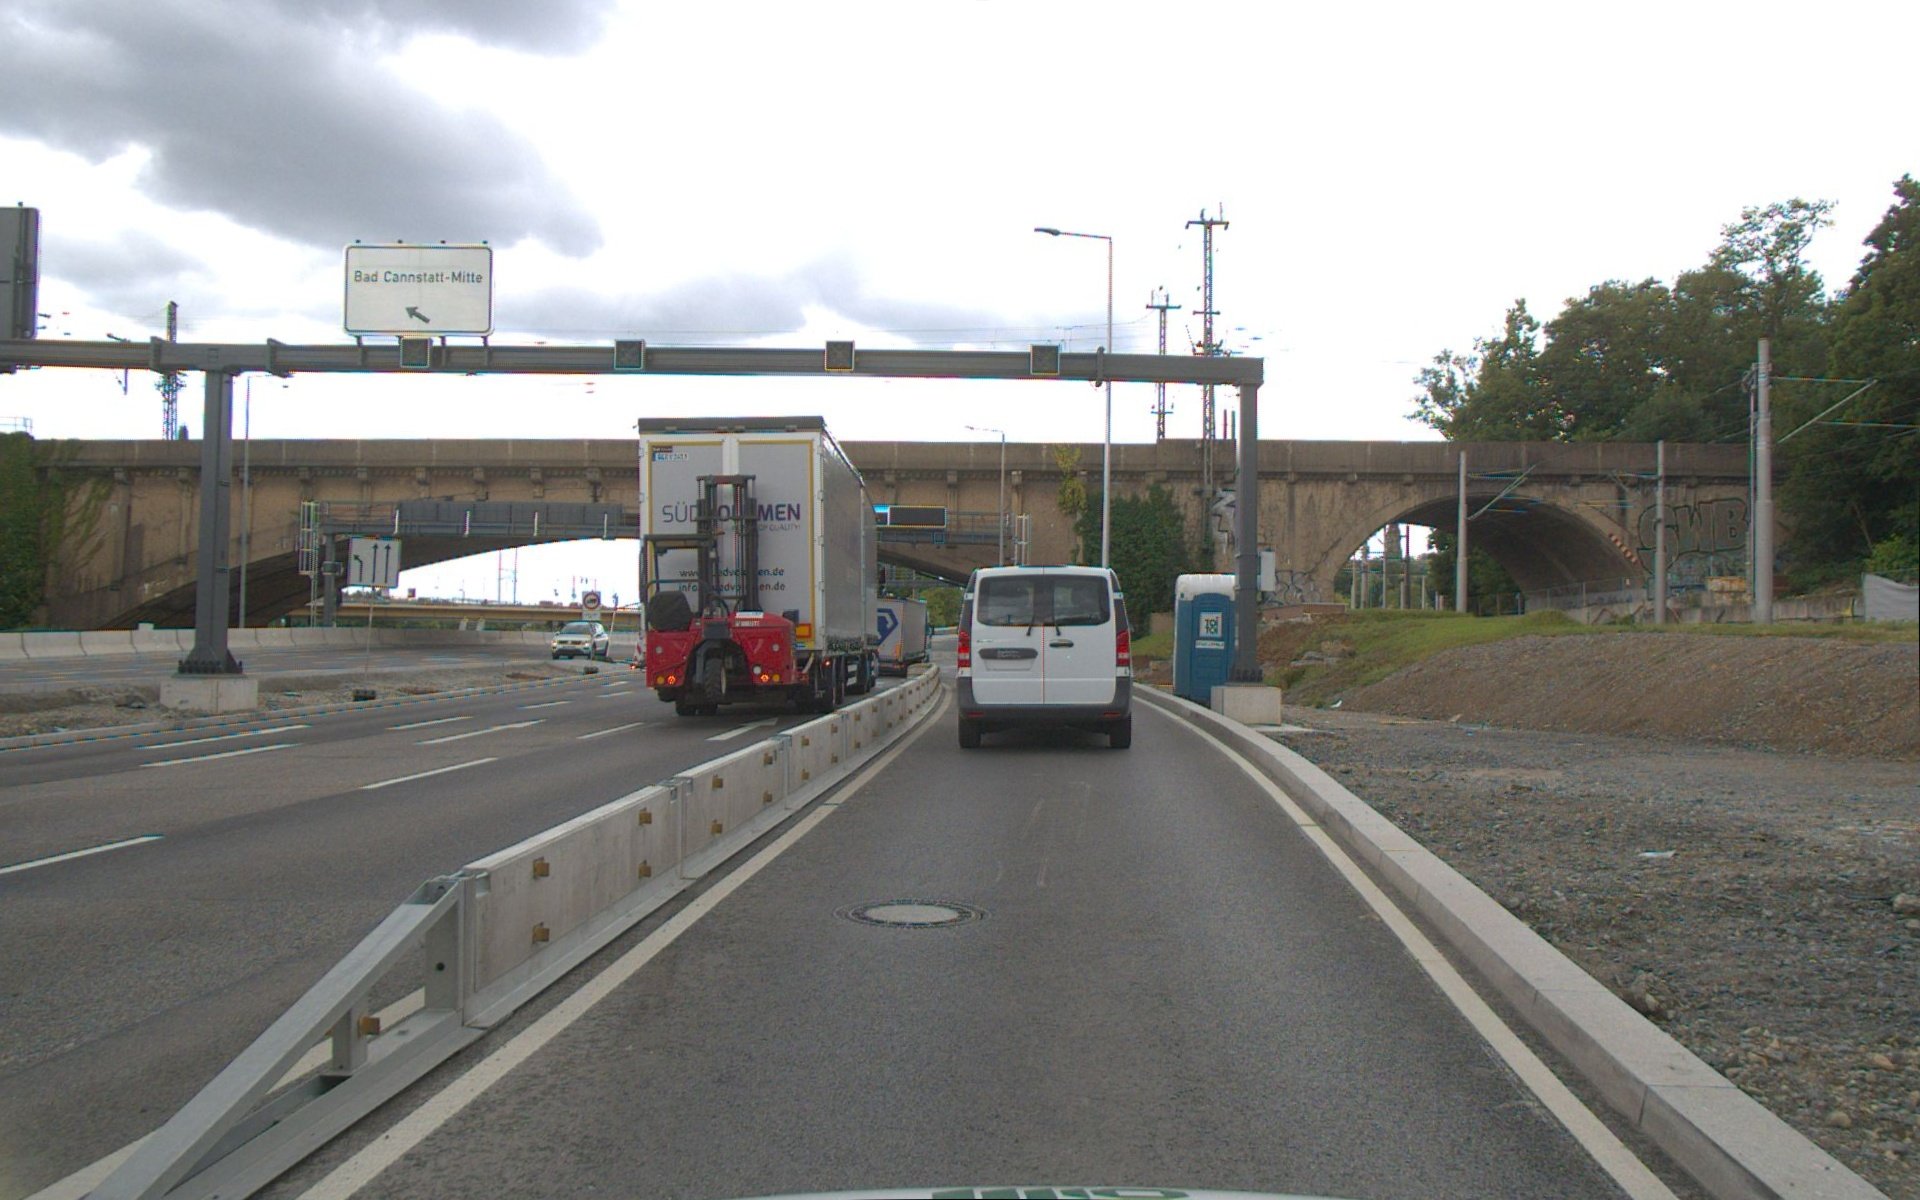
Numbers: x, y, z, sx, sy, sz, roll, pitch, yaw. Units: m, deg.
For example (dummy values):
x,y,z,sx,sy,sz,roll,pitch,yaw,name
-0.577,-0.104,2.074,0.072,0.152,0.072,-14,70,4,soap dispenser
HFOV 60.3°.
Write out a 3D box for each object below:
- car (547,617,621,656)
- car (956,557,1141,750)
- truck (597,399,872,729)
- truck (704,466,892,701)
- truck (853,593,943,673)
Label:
x,y,z,sx,sy,sz,roll,pitch,yaw,name
-16.780,1.617,73.976,1.761,1.691,4.291,0,-1,9,car
1.060,0.572,18.879,1.836,1.924,4.755,0,-1,4,car
-3.109,-0.298,25.988,2.858,4.088,10.198,2,-2,0,truck
-3.217,-0.086,36.139,2.926,4.250,11.237,2,-2,0,truck
-3.222,1.849,91.669,3.247,3.876,16.598,2,-1,3,truck
